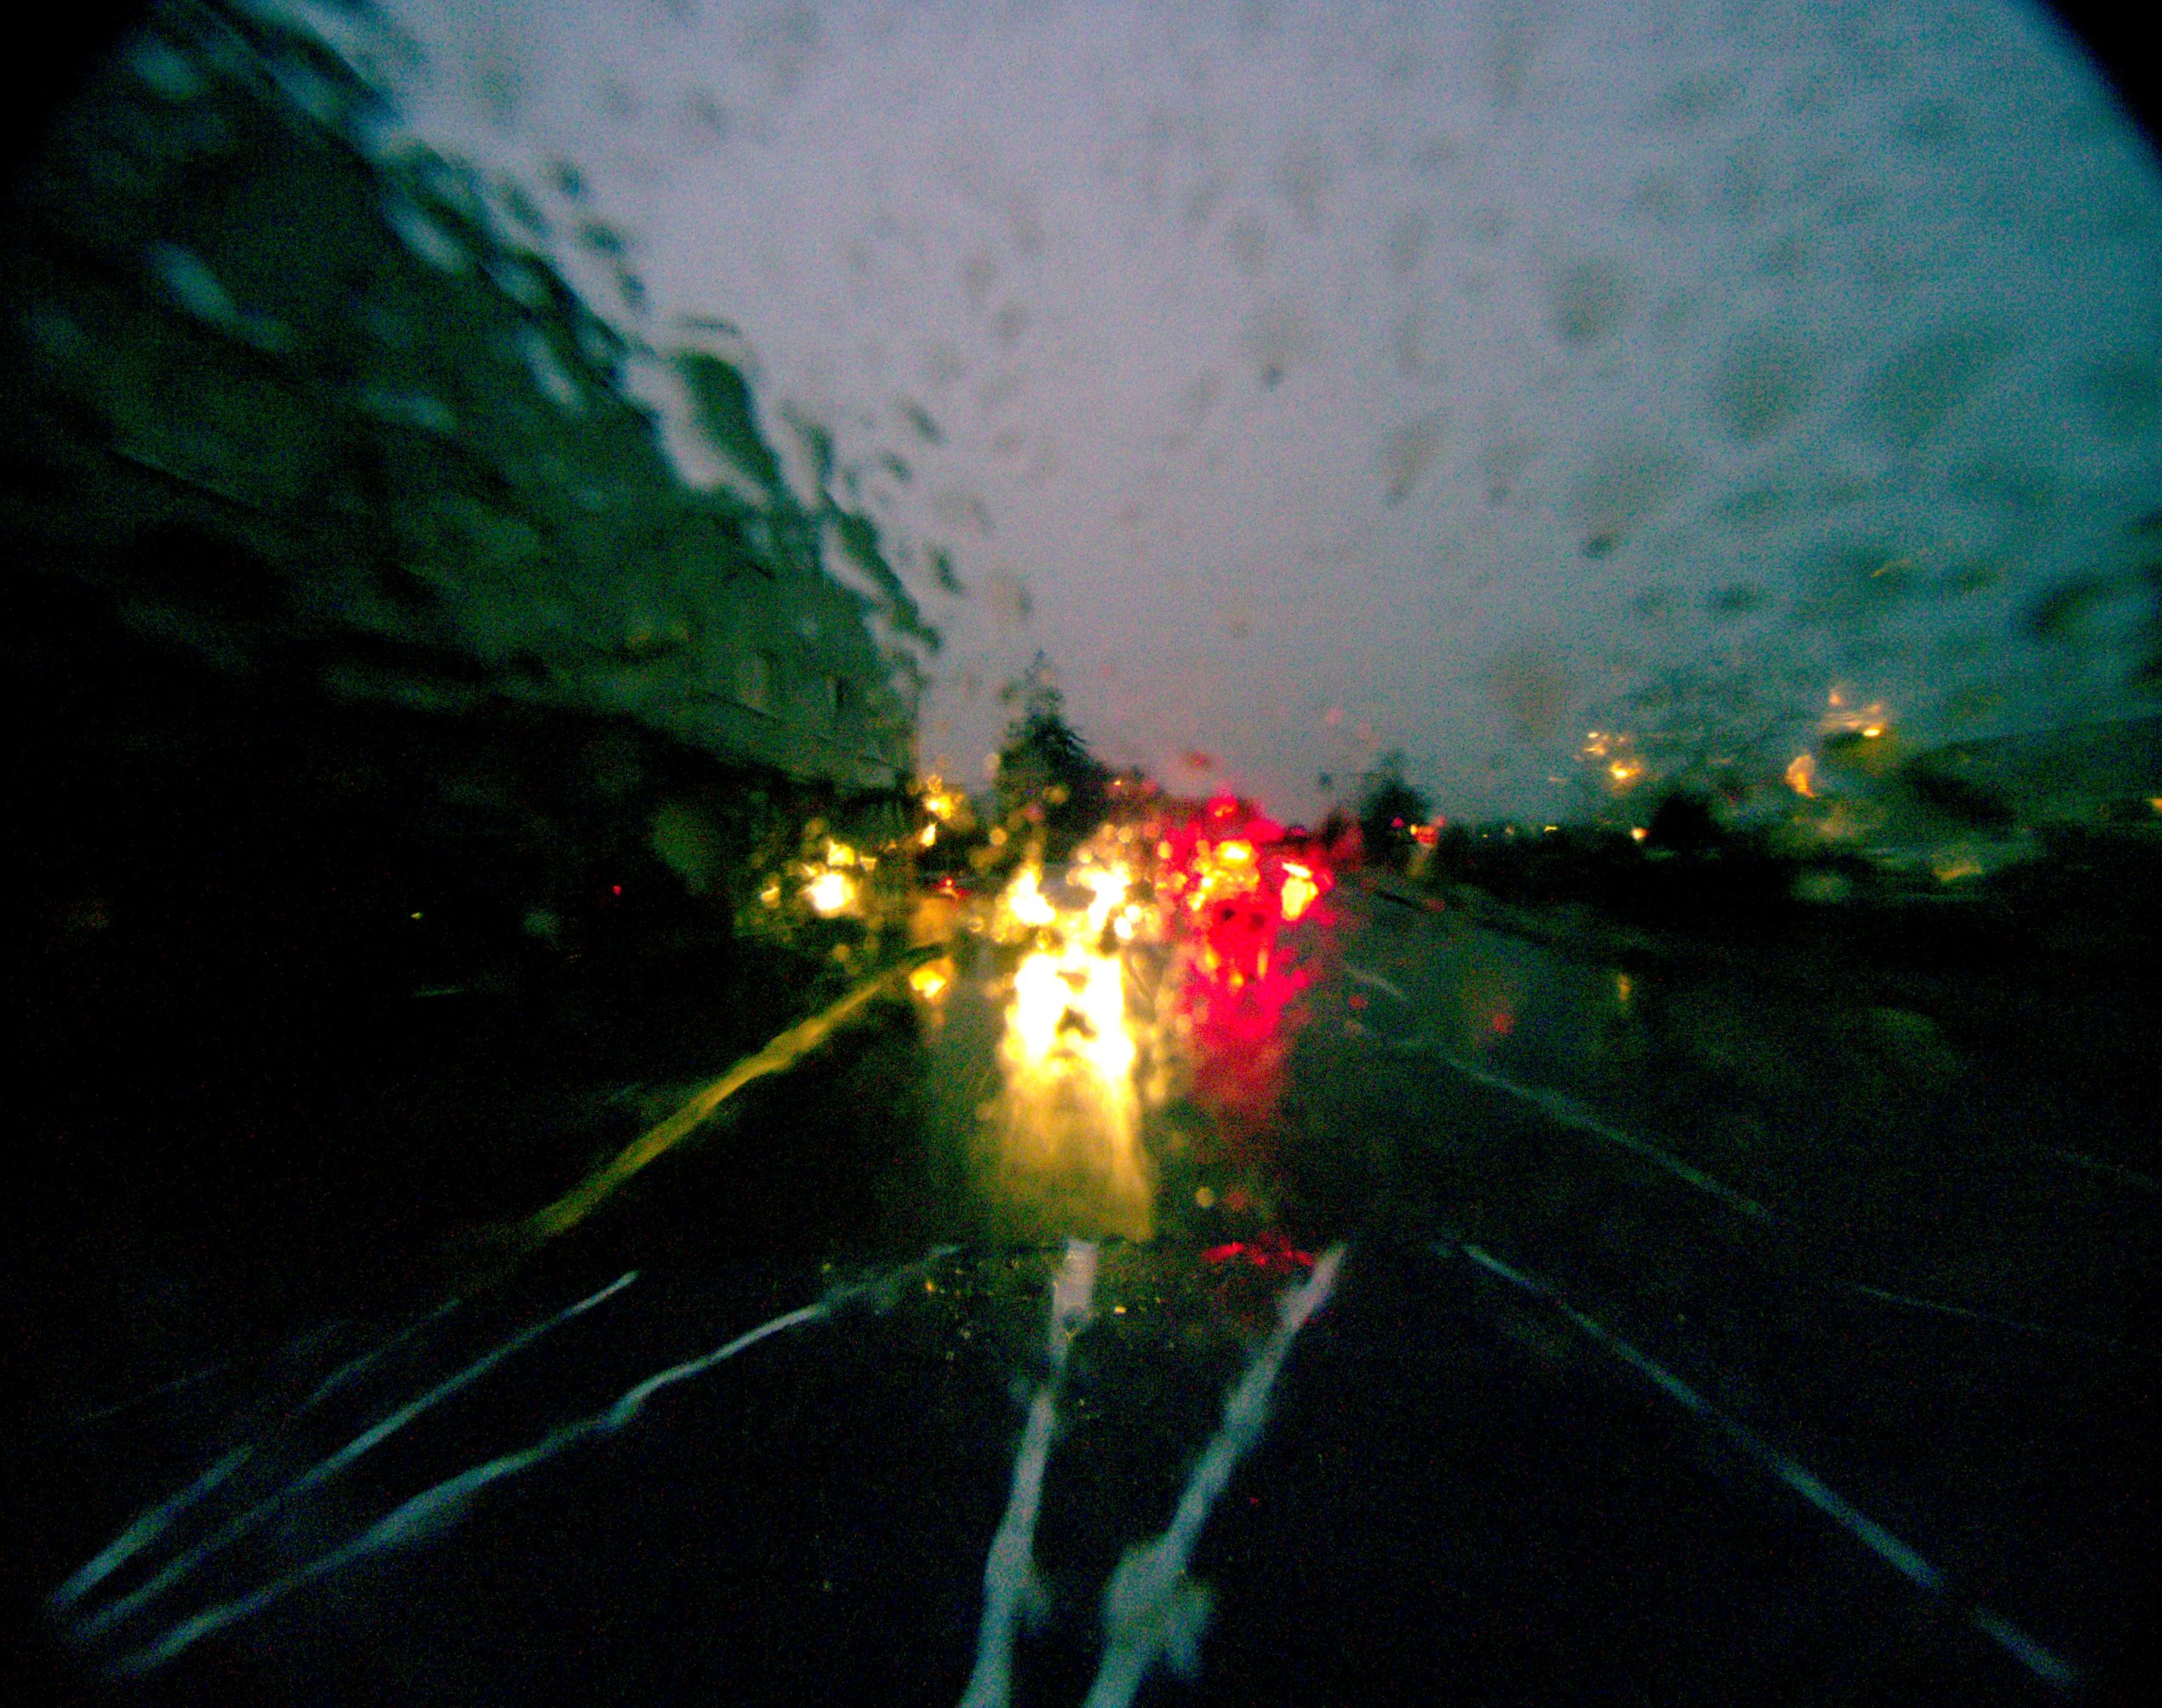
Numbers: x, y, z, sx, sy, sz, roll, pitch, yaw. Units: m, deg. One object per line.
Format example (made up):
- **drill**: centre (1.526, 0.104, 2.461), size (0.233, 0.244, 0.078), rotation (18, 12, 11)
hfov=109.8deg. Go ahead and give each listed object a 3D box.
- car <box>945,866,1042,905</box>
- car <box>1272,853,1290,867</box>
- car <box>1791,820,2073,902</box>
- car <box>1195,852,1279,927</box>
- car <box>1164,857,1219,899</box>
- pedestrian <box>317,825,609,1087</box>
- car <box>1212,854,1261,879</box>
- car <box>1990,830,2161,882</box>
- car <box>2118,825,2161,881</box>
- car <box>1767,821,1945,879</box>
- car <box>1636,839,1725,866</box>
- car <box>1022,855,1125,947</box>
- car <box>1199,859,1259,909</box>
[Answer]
- **car**: centre (-4.045, 1.467, 35.650), size (4.181, 1.432, 1.798), rotation (-5, -1, 1)
- **car**: centre (27.154, 0.825, 102.924), size (1.945, 1.795, 4.179), rotation (-2, -1, 19)
- **car**: centre (20.306, 0.161, 18.252), size (4.784, 1.701, 2.032), rotation (-2, 0, -5)
- **car**: centre (3.997, 0.848, 20.083), size (1.775, 1.713, 4.424), rotation (-2, 0, 7)
- **car**: centre (4.530, 0.933, 30.803), size (1.665, 1.477, 4.004), rotation (-2, 0, 15)
- **pedestrian**: centre (-4.833, 0.724, 6.085), size (1.257, 1.855, 1.304), rotation (0, 0, 5)
- **car**: centre (10.210, 0.802, 49.755), size (1.995, 1.464, 4.007), rotation (-3, -1, 28)
- **car**: centre (31.785, 0.074, 23.798), size (4.443, 1.554, 2.055), rotation (0, -1, -5)
- **car**: centre (32.379, -0.048, 21.181), size (4.443, 1.554, 2.055), rotation (0, -1, -5)
- **car**: centre (31.444, -0.146, 30.917), size (5.200, 2.269, 2.218), rotation (0, -1, -5)
- **car**: centre (37.193, -0.085, 47.289), size (1.687, 1.527, 4.785), rotation (-2, 0, -1)
- **car**: centre (-0.011, 0.881, 16.172), size (1.775, 1.632, 4.423), rotation (-2, 0, 4)
- **car**: centre (4.931, 0.952, 25.661), size (1.774, 1.486, 4.045), rotation (-2, 0, 9)
